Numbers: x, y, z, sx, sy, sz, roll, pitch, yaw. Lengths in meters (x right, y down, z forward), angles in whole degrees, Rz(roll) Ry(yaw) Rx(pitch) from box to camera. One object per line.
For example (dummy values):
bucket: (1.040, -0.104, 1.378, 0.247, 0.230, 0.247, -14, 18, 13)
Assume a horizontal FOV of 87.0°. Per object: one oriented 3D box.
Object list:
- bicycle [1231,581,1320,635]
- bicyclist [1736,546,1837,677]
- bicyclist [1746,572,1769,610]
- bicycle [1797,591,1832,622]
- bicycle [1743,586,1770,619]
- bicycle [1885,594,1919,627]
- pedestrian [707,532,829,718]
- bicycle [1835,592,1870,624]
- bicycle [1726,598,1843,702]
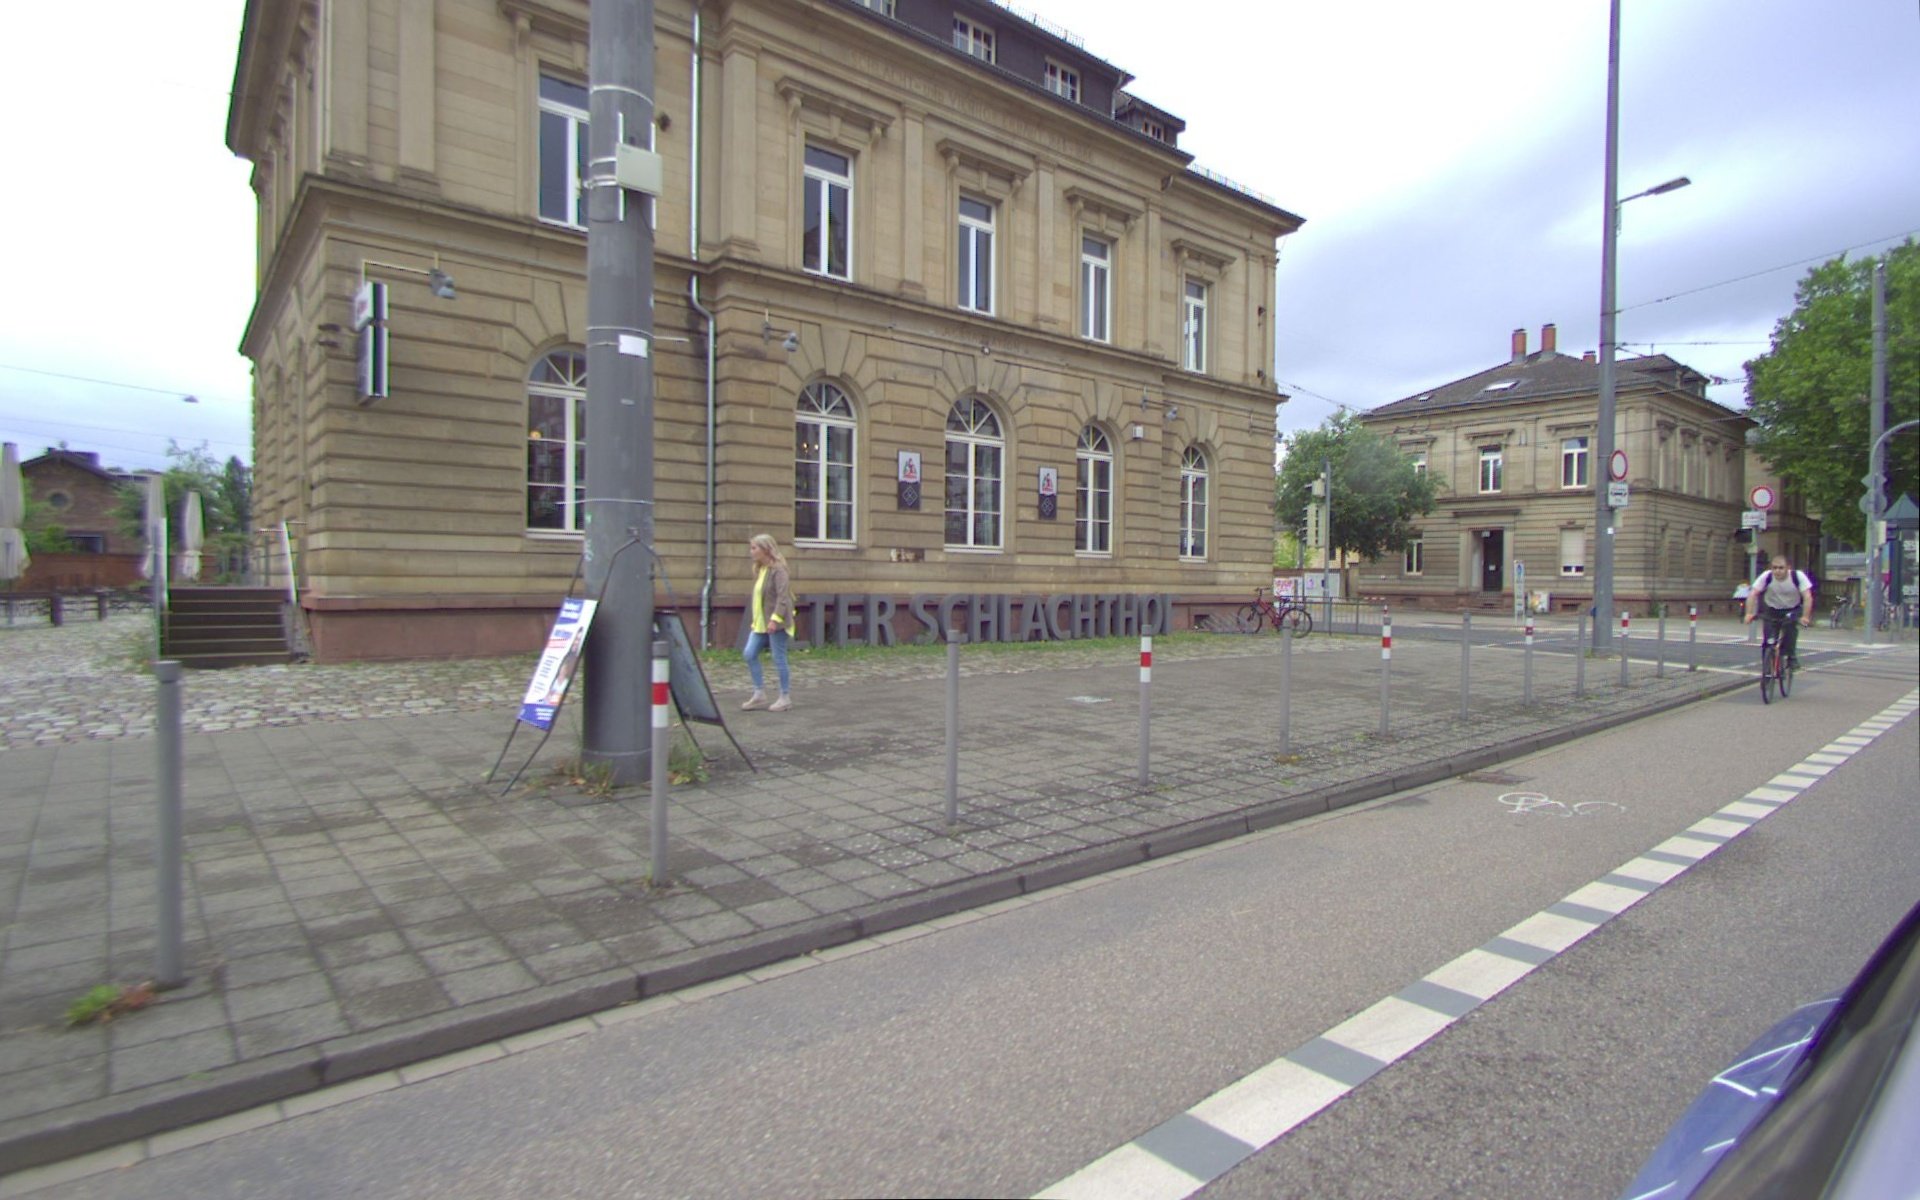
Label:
bicycle: (7.274, 0.171, 23.372, 1.845, 1.091, 0.541, 5, 4, 33)
bicyclist: (10.748, 0.117, 13.154, 1.169, 1.620, 0.811, -1, 2, -41)
bicyclist: (30.732, -0.364, 39.000, 0.691, 1.417, 0.805, 1, 2, 39)
bicycle: (31.193, 0.218, 36.943, 1.670, 1.081, 0.718, -1, 2, -41)
bicycle: (30.708, 0.087, 39.021, 0.674, 1.179, 2.083, 1, 2, 42)
bicycle: (32.733, 0.354, 35.130, 1.670, 1.081, 0.718, -1, 2, -41)
pedestrian: (-1.857, 0.209, 9.773, 0.979, 1.699, 0.722, -1, 2, -29)
bicycle: (31.891, 0.259, 36.144, 1.670, 1.081, 0.718, -1, 2, -41)
bicycle: (10.786, 0.605, 13.211, 2.238, 1.184, 0.814, -1, 2, -41)
